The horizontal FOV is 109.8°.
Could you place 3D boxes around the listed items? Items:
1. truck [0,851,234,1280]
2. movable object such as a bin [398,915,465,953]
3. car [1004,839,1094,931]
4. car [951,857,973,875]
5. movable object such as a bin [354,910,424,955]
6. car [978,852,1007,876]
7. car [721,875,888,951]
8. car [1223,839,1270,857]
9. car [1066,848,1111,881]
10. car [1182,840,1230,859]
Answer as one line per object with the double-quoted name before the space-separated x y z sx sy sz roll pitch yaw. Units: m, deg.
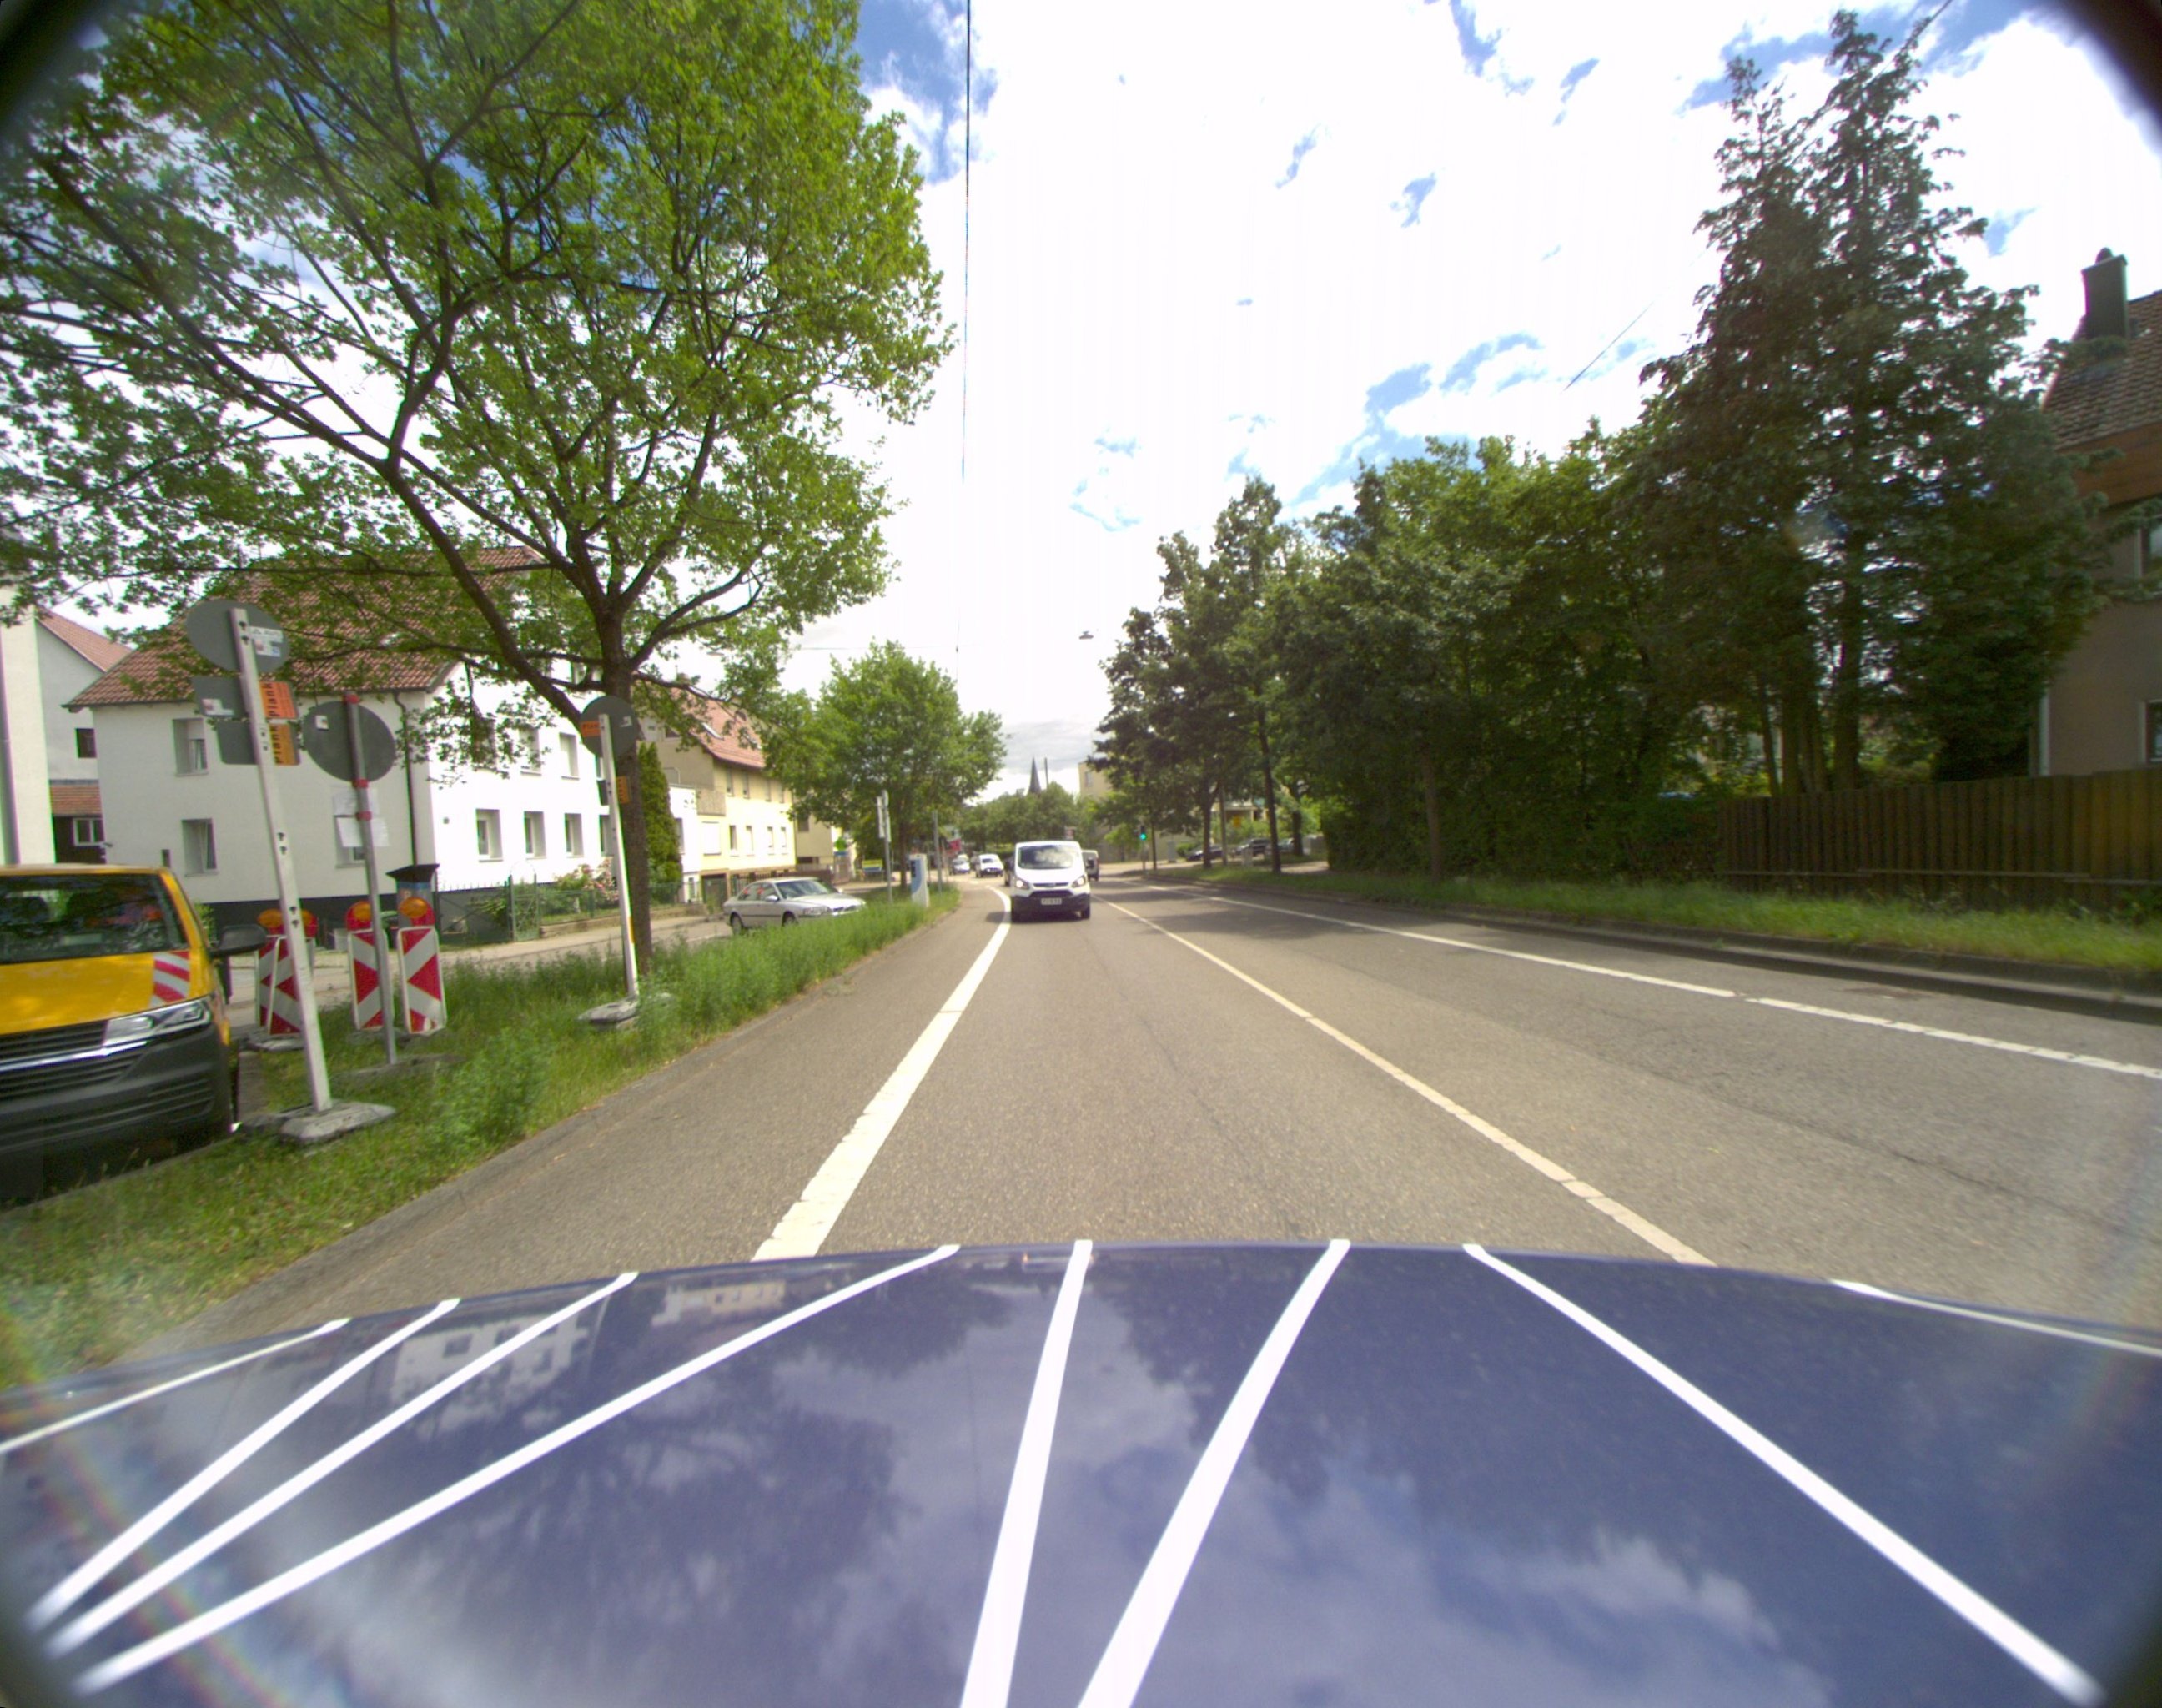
"truck" -7.591 1.216 5.320 5.942 2.002 2.004 -5 0 41
"movable object such as a bin" -18.144 2.227 21.249 1.122 0.936 0.822 -3 1 -1
"car" -0.773 0.684 20.634 1.999 2.002 5.511 -4 2 0
"car" -11.847 1.145 75.923 2.000 1.652 3.997 -3 1 -8
"movable object such as a bin" -19.291 2.180 21.215 1.122 1.113 0.822 -3 1 -1
"car" -7.187 0.778 61.257 2.000 1.719 4.100 -3 1 -10
"car" -6.916 1.347 18.816 4.294 1.569 2.004 -1 1 41
"car" 15.903 -0.565 72.998 4.005 1.499 1.996 -3 1 -28
"car" 0.377 0.578 44.956 1.830 1.772 4.620 -3 1 -8
"car" 11.598 -0.392 70.395 4.005 1.499 1.995 -3 1 -30
